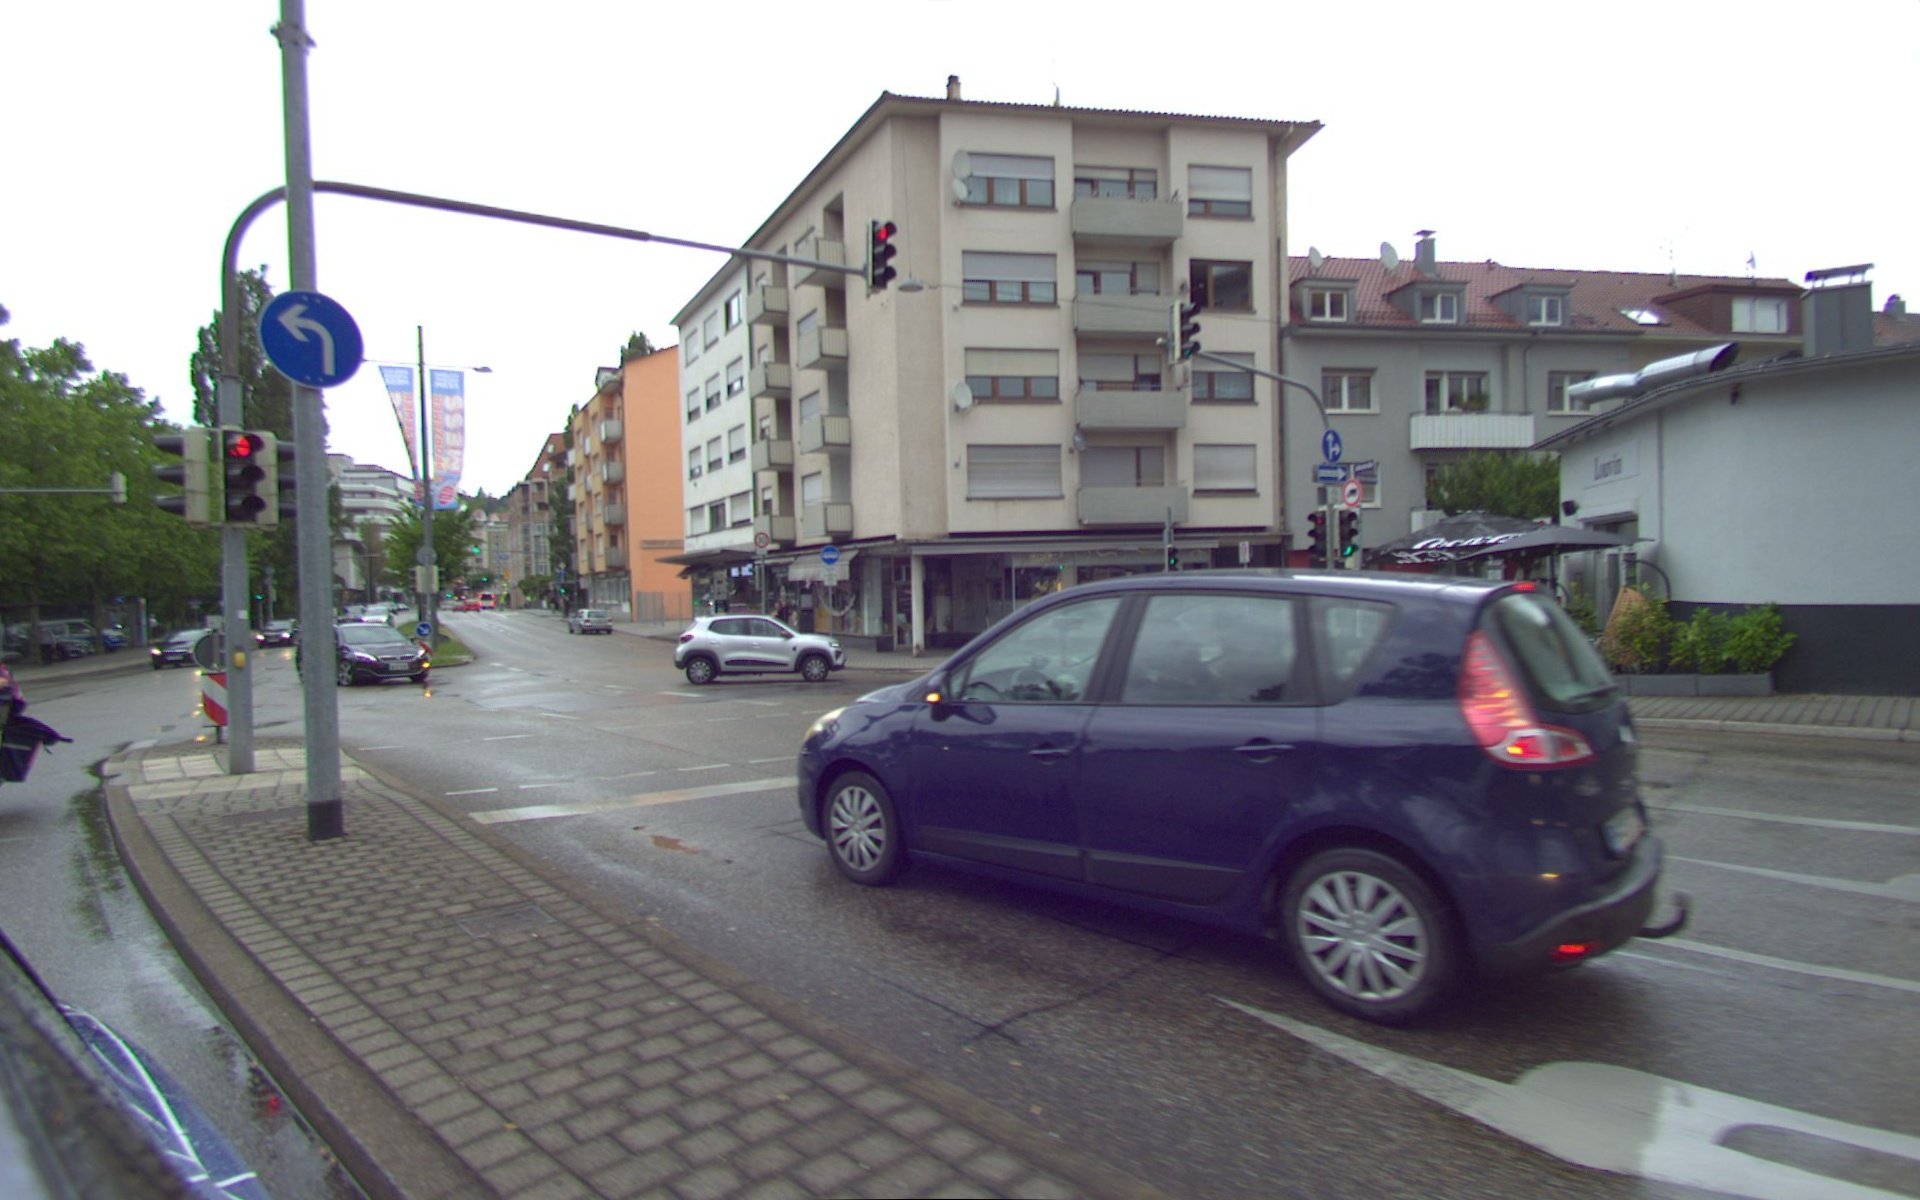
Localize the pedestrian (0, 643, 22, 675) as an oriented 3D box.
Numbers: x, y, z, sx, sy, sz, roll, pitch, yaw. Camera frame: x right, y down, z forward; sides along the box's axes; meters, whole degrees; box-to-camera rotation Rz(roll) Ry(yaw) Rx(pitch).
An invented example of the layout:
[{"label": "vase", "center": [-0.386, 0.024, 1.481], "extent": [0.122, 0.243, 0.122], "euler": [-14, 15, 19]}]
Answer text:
[{"label": "pedestrian", "center": [-40.716, 2.520, 43.272], "extent": [0.623, 1.332, 0.627], "euler": [-3, 1, -13]}]

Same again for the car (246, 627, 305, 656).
[{"label": "car", "center": [-37.175, 2.231, 55.088], "extent": [1.865, 1.432, 4.375], "euler": [0, -1, -23]}]

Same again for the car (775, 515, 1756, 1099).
[{"label": "car", "center": [1.088, 0.626, 4.914], "extent": [4.211, 1.627, 1.736], "euler": [-2, -1, 43]}]

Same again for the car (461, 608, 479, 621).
[{"label": "car", "center": [-57.617, 1.682, 119.026], "extent": [1.581, 1.441, 3.958], "euler": [1, 0, -30]}]

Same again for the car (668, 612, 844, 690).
[{"label": "car", "center": [-4.343, 1.075, 21.939], "extent": [3.573, 1.472, 1.544], "euler": [-2, 0, -6]}]

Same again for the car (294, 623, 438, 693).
[{"label": "car", "center": [-14.571, 1.336, 24.722], "extent": [4.396, 1.444, 1.780], "euler": [-1, 2, 43]}]

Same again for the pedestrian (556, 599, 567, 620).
[{"label": "pedestrian", "center": [-36.929, 0.884, 93.787], "extent": [0.734, 1.901, 0.802], "euler": [-2, 0, -30]}]

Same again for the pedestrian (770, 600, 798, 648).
[{"label": "pedestrian", "center": [-6.755, 0.909, 38.839], "extent": [0.767, 1.742, 0.662], "euler": [-6, 1, -25]}]

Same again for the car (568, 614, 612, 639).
[{"label": "car", "center": [-21.274, 1.501, 58.104], "extent": [1.653, 1.402, 4.164], "euler": [1, -1, -30]}]

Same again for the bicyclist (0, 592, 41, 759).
[{"label": "bicyclist", "center": [-7.655, 0.591, 7.644], "extent": [0.948, 1.235, 0.716], "euler": [-2, -2, -35]}]

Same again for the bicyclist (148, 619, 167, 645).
[{"label": "bicyclist", "center": [-58.960, 2.339, 74.369], "extent": [0.973, 1.783, 0.798], "euler": [-2, 1, -43]}]

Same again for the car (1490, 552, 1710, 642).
[{"label": "car", "center": [19.216, -0.087, 30.543], "extent": [5.175, 2.528, 2.410], "euler": [-1, -1, -7]}]

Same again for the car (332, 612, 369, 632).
[{"label": "car", "center": [-47.511, 1.727, 78.949], "extent": [1.865, 1.499, 4.375], "euler": [0, -1, -23]}]

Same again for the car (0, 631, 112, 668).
[{"label": "car", "center": [-45.949, 2.505, 50.897], "extent": [4.672, 1.415, 1.869], "euler": [-5, 2, -24]}]

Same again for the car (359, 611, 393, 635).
[{"label": "car", "center": [-41.046, 1.600, 71.186], "extent": [1.865, 1.588, 4.375], "euler": [0, -1, -28]}]

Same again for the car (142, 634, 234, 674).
[{"label": "car", "center": [-30.341, 2.080, 39.907], "extent": [1.865, 1.410, 4.375], "euler": [0, -1, -23]}]

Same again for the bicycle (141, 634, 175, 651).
[{"label": "bicycle", "center": [-58.956, 3.123, 74.384], "extent": [1.904, 1.102, 0.650], "euler": [-3, 1, -43]}]

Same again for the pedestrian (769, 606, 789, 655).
[{"label": "pedestrian", "center": [-6.645, 1.114, 37.189], "extent": [0.446, 1.743, 0.526], "euler": [-5, 1, -24]}]

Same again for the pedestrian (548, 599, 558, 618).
[{"label": "pedestrian", "center": [-39.154, 0.815, 97.258], "extent": [0.754, 1.708, 0.802], "euler": [-2, 1, -30]}]

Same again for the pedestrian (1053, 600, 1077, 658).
[{"label": "pedestrian", "center": [3.103, 0.858, 29.972], "extent": [0.594, 1.662, 0.529], "euler": [-2, 3, -4]}]

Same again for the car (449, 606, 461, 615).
[{"label": "car", "center": [-76.407, 1.557, 153.035], "extent": [1.544, 1.404, 3.846], "euler": [0, 0, -28]}]

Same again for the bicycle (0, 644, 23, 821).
[{"label": "bicycle", "center": [-7.724, 1.015, 7.684], "extent": [0.706, 1.315, 2.432], "euler": [1, -2, -39]}]

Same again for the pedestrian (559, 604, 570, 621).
[{"label": "pedestrian", "center": [-33.671, 1.060, 86.180], "extent": [0.609, 1.451, 0.553], "euler": [-3, 2, 43]}]

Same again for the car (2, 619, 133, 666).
[{"label": "car", "center": [-47.819, 2.230, 54.337], "extent": [4.768, 1.956, 1.957], "euler": [-5, 2, -24]}]
